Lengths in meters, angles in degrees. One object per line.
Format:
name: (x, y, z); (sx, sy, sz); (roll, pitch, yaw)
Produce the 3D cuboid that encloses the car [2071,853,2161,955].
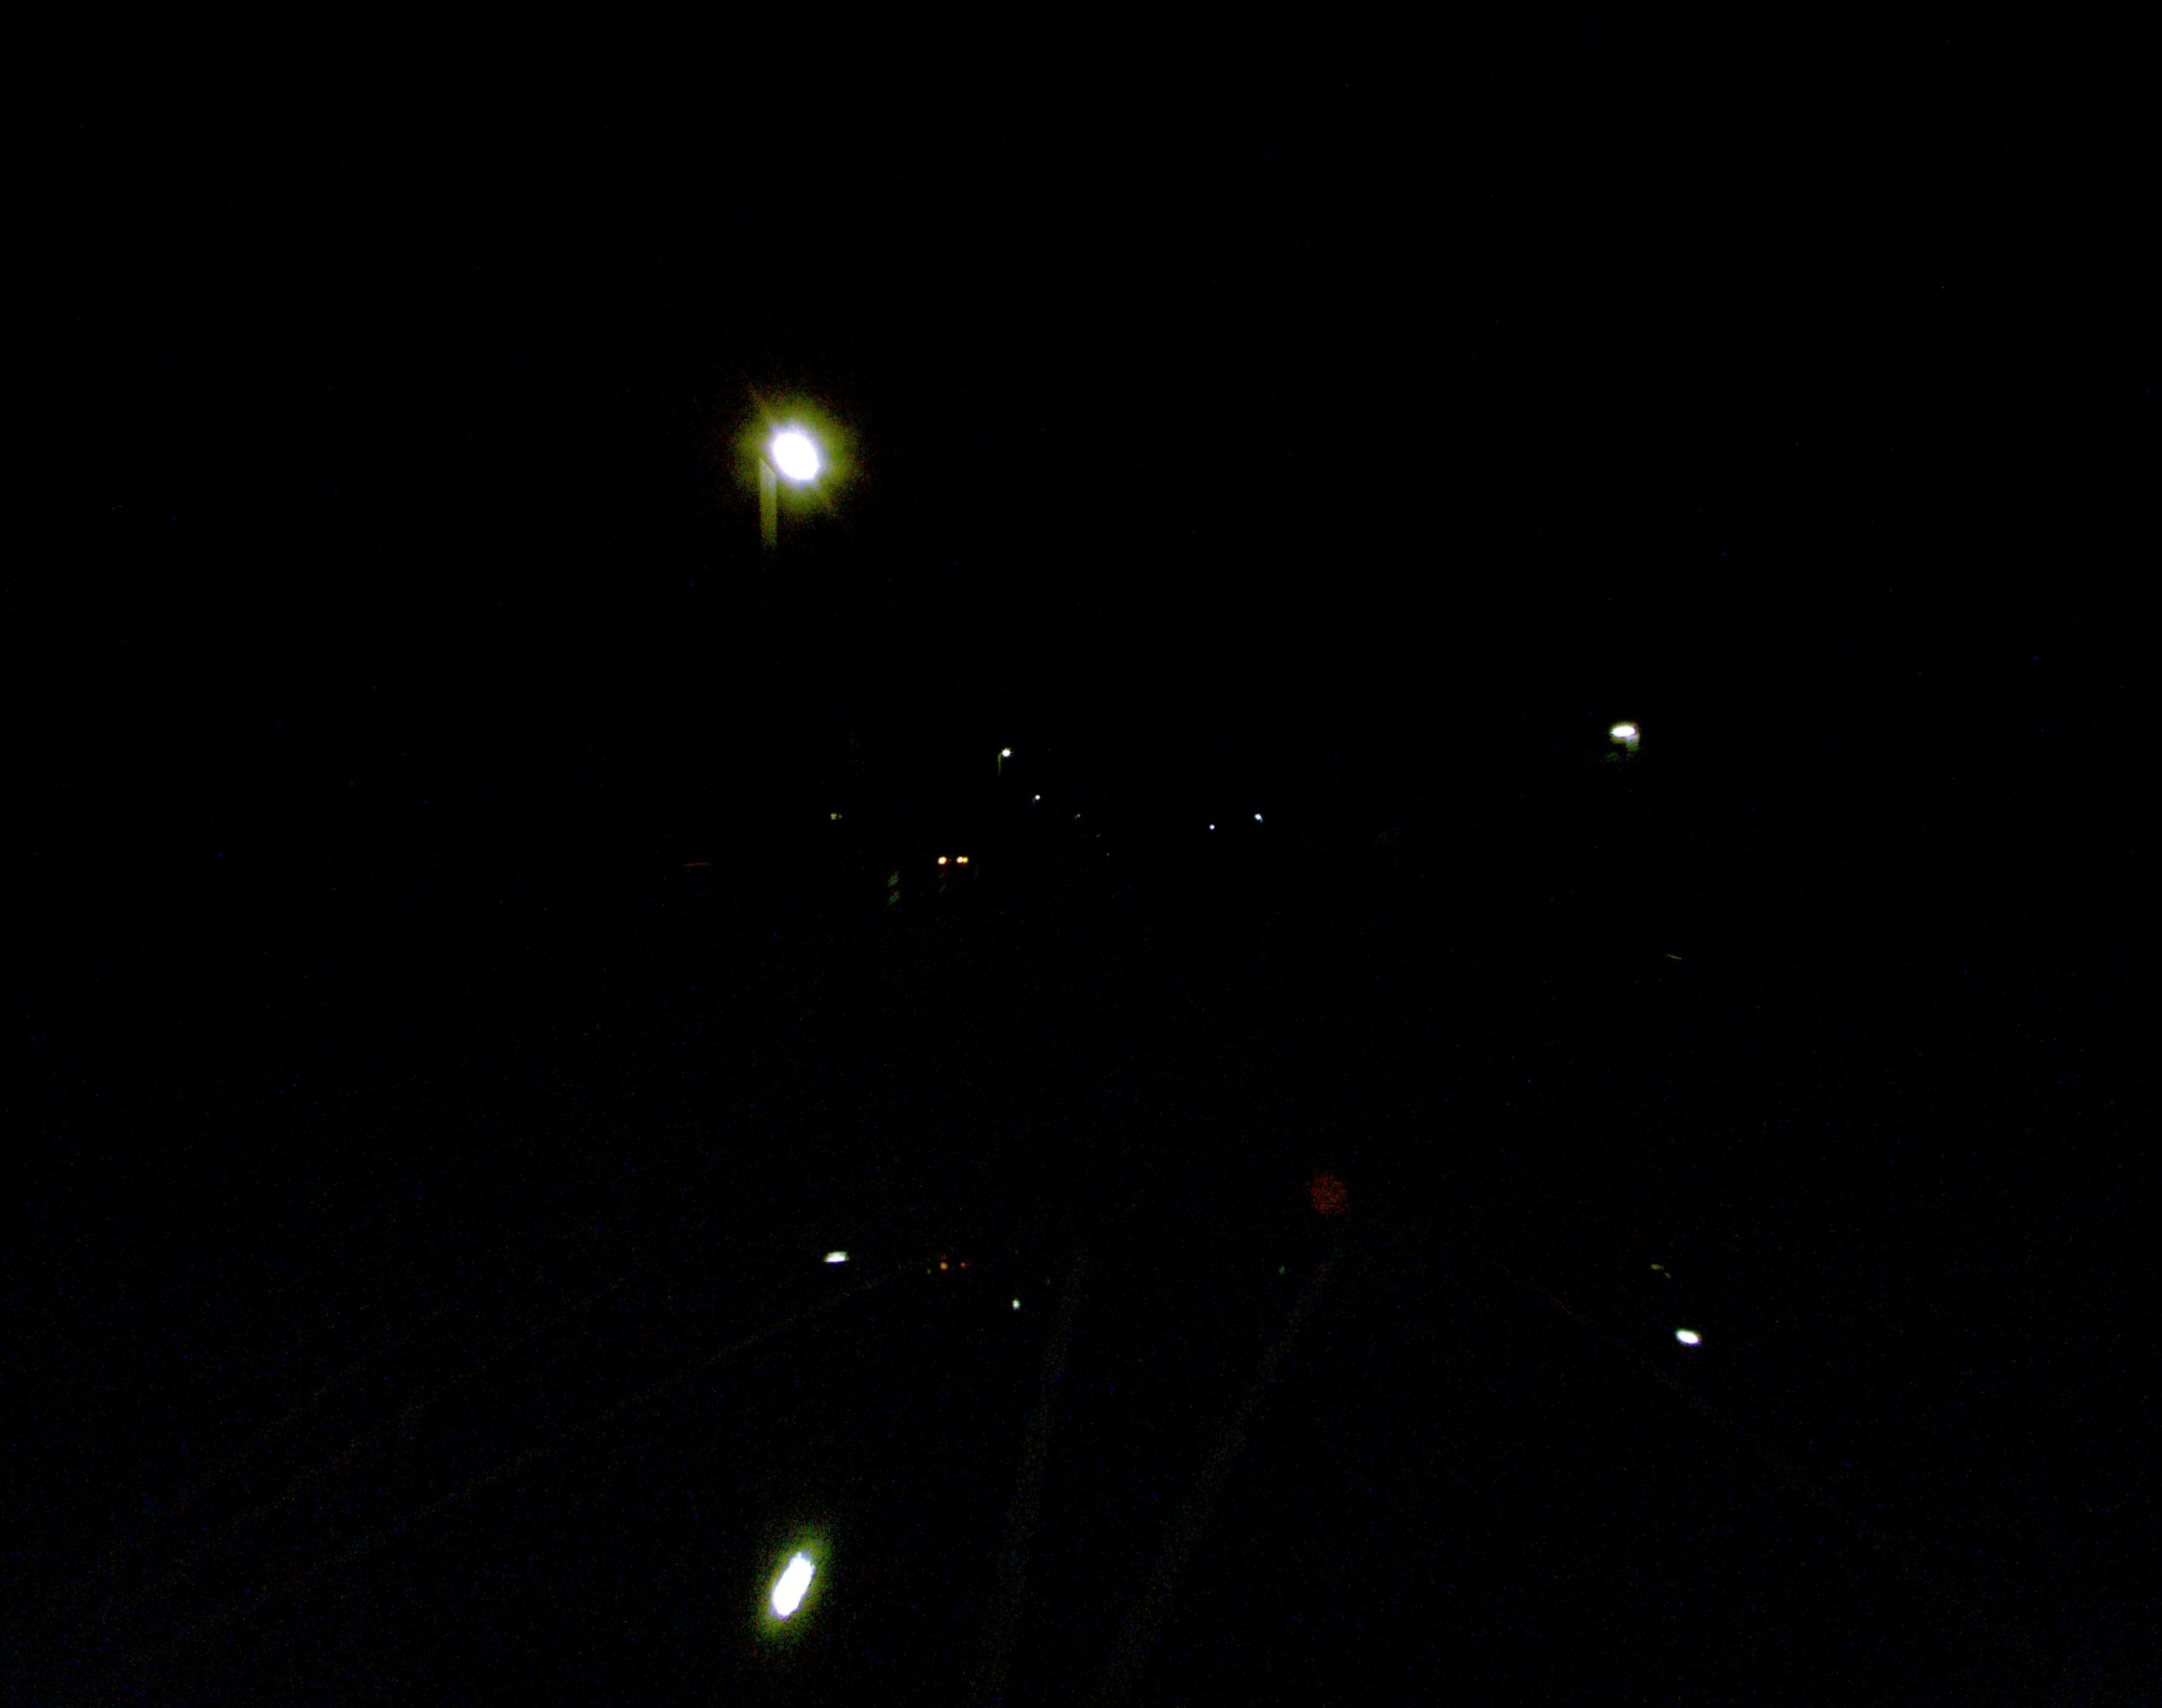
car: (16.843, 0.748, 10.142); (1.870, 1.496, 4.094); (0, 0, -1)
